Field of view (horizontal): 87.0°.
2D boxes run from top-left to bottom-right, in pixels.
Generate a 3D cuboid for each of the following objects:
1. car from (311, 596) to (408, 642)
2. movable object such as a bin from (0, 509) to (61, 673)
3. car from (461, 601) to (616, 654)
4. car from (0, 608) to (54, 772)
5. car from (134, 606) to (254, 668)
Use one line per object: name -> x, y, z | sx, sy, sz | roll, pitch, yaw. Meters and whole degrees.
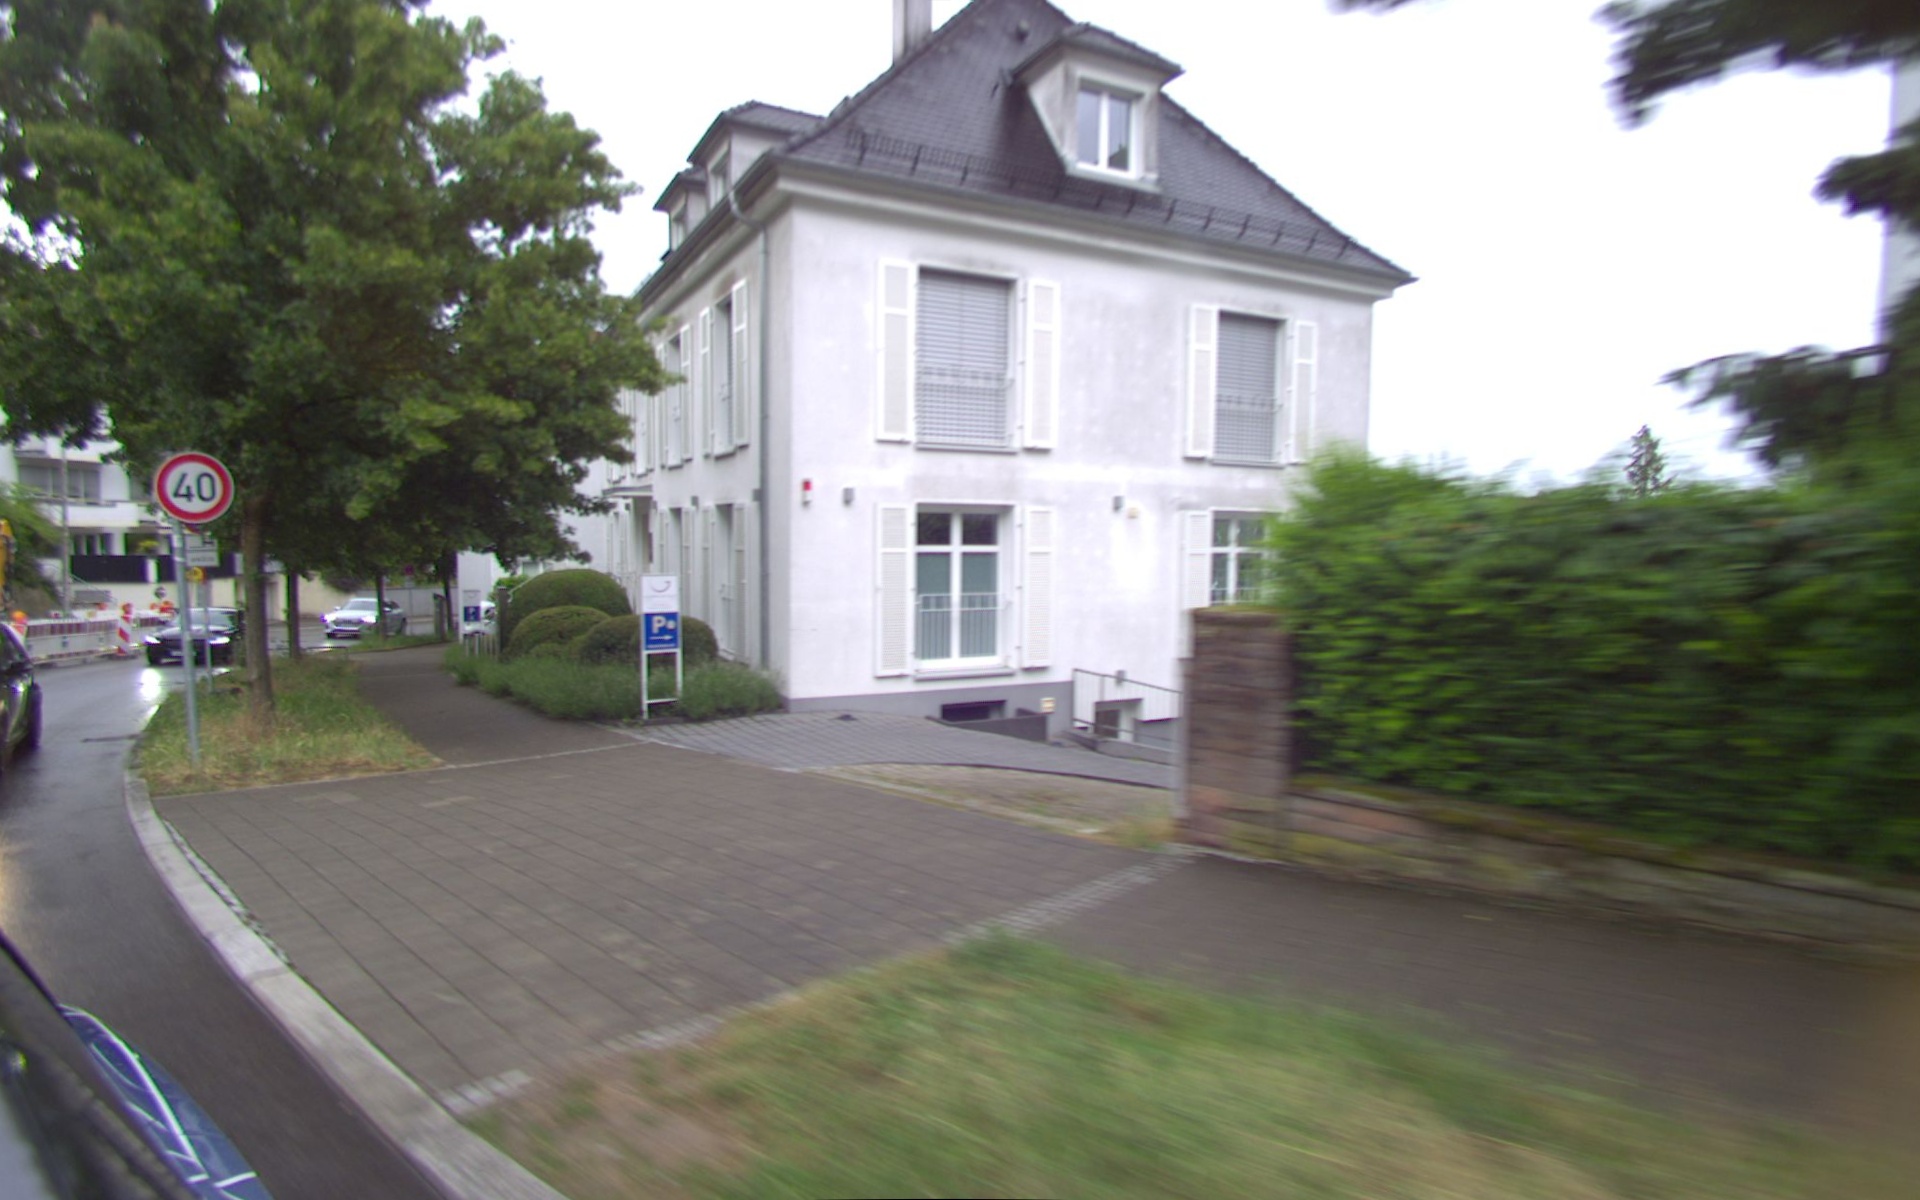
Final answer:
car -> -24.825, 0.739, 42.019 | 1.969, 1.722, 4.584 | -1, 1, -10
movable object such as a bin -> -24.073, -0.184, 22.942 | 3.274, 3.868, 7.228 | -1, 1, -22
car -> -12.347, 0.766, 29.912 | 4.002, 1.413, 1.850 | -1, 1, -15
car -> -10.117, 0.848, 9.678 | 1.648, 1.477, 4.727 | -1, 1, -36
car -> -20.038, 0.904, 26.656 | 1.812, 1.413, 4.084 | -1, 1, -27
